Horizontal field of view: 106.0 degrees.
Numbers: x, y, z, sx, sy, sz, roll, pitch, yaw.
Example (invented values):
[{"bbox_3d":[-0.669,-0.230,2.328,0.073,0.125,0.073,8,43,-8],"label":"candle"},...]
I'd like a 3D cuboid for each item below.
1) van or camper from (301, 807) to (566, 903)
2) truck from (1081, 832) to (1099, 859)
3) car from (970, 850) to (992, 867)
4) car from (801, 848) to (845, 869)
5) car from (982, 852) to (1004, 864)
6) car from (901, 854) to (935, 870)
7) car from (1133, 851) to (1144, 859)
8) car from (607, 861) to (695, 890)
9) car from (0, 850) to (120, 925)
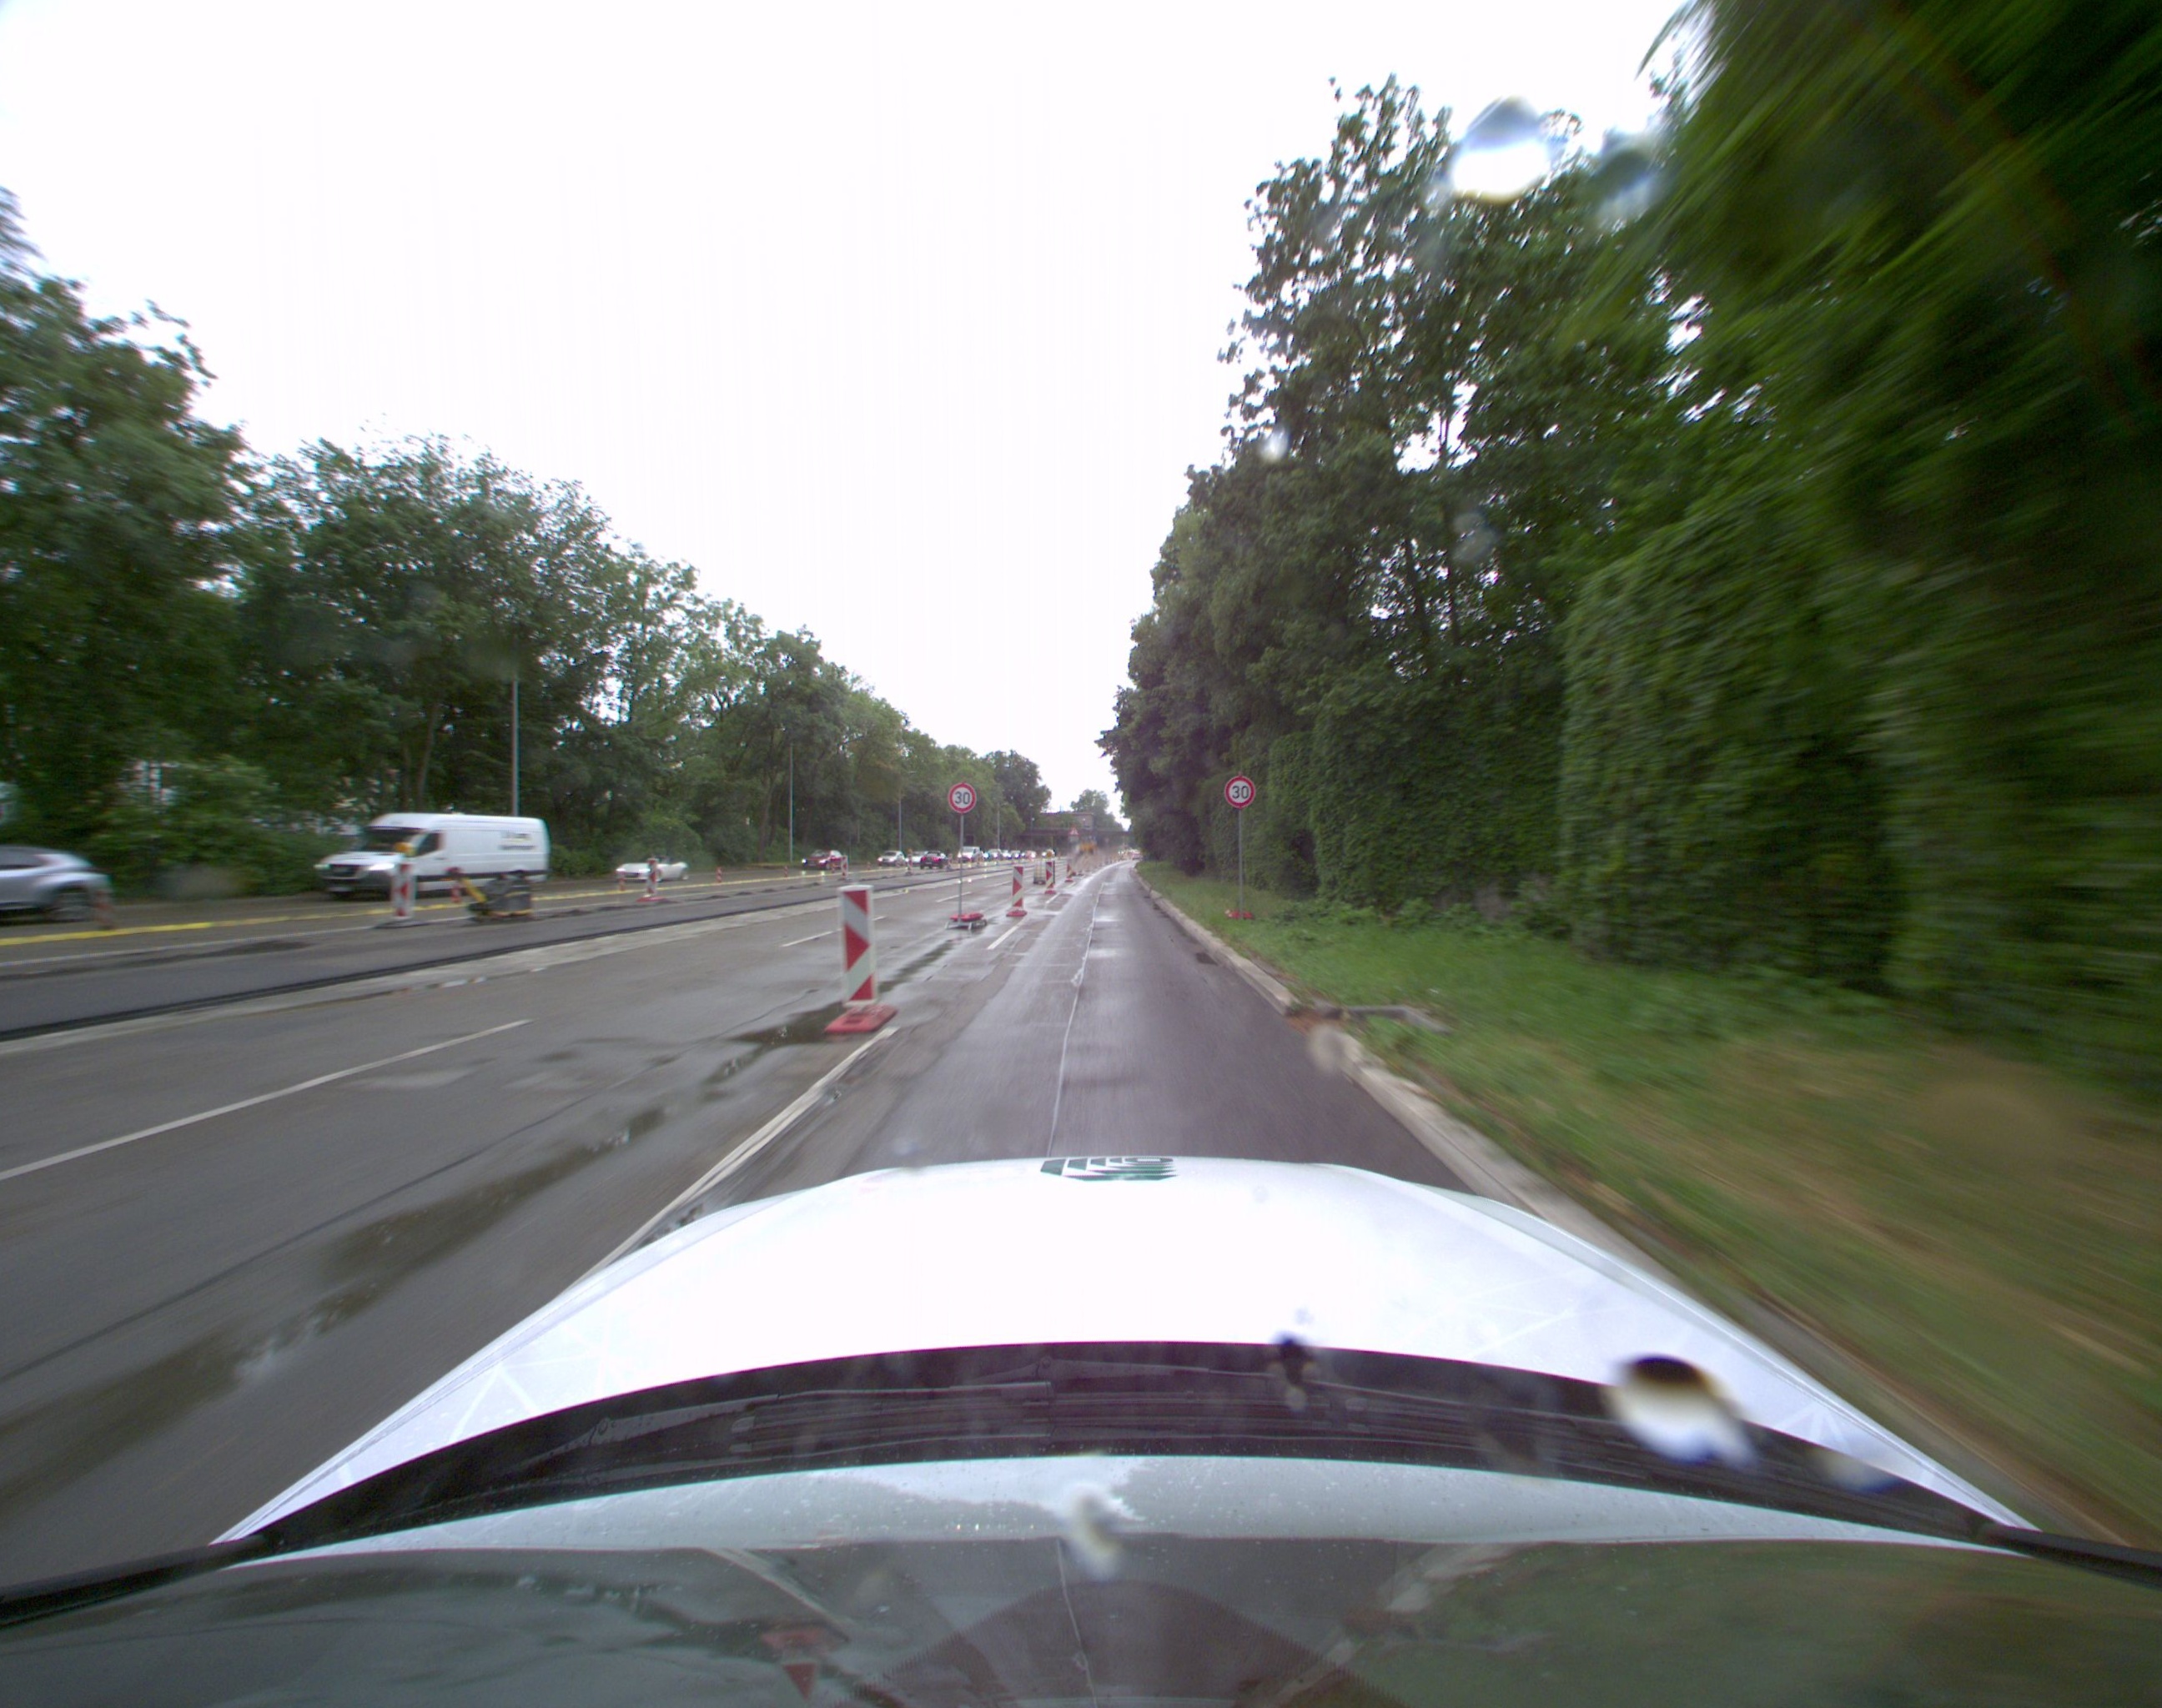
[{"bbox_3d":[-20.084,0.006,26.036,1.986,2.554,7.734,1,0,2],"label":"van or camper"},{"bbox_3d":[1.555,-1.418,135.837,2.887,4.259,10.760,1,0,2],"label":"truck"},{"bbox_3d":[-12.016,0.499,98.189,1.987,1.972,4.902,1,0,0],"label":"car"},{"bbox_3d":[-18.961,0.325,60.015,1.722,1.476,4.488,0,0,1],"label":"car"},{"bbox_3d":[-12.339,0.540,113.906,2.011,1.725,5.021,1,0,6],"label":"car"},{"bbox_3d":[-15.190,0.700,75.991,1.985,1.416,4.397,-1,0,3],"label":"car"},{"bbox_3d":[11.442,0.167,160.874,1.983,1.640,4.007,-1,0,6],"label":"car"},{"bbox_3d":[-19.739,0.945,37.561,1.681,1.183,4.004,1,0,4],"label":"car"},{"bbox_3d":[-20.495,0.620,14.553,1.709,1.364,4.083,-1,0,1],"label":"car"}]
